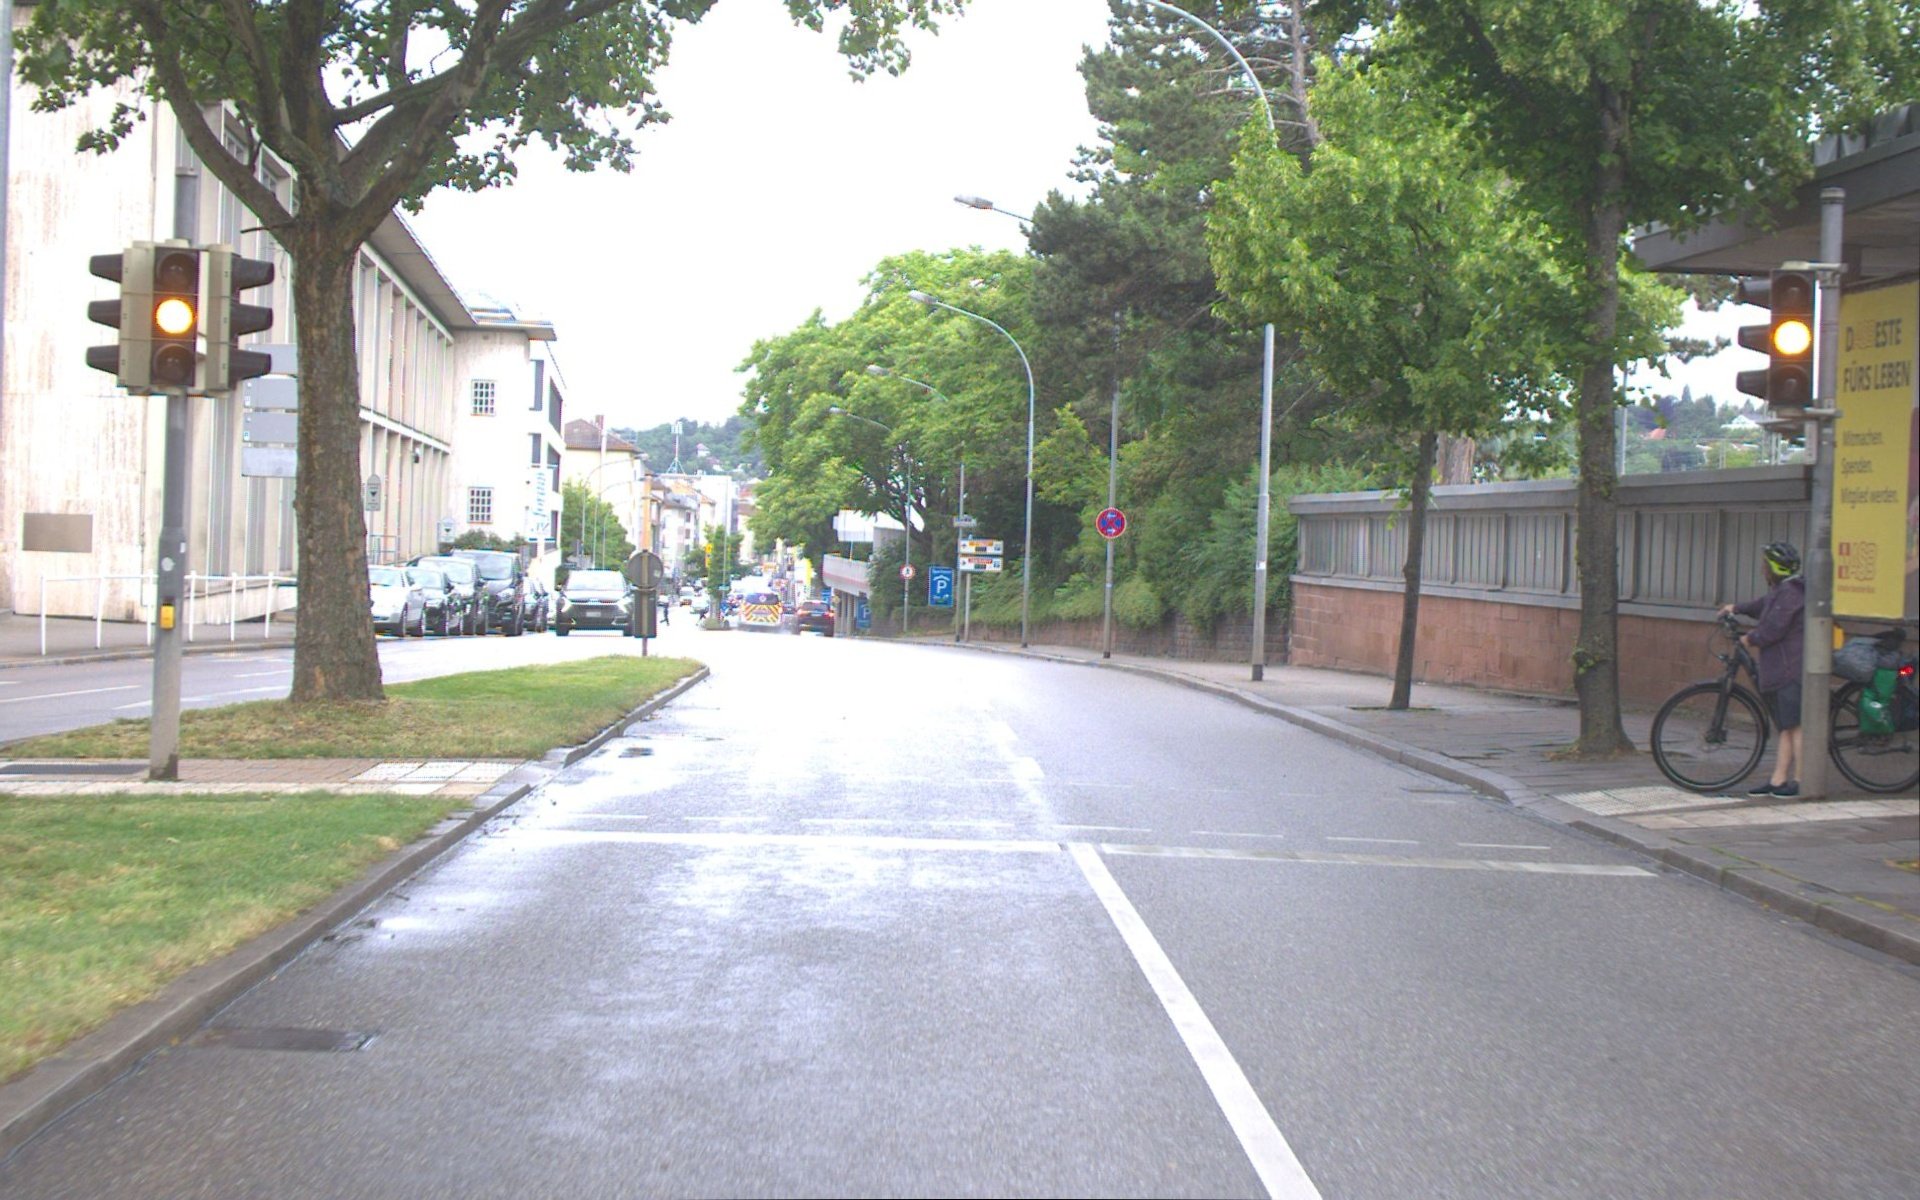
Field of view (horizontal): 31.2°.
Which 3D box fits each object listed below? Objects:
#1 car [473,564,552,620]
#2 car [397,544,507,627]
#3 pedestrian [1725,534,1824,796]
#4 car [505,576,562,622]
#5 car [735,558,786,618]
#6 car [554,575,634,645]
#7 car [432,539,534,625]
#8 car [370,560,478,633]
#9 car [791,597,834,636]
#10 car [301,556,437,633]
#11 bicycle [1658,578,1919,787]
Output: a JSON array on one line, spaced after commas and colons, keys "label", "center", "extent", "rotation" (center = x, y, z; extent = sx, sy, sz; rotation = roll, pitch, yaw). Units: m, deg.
[{"label": "car", "center": [-12.772, -0.238, 98.338], "extent": [1.815, 1.479, 4.910], "rotation": [2, 0, -3]}, {"label": "car", "center": [-10.977, -0.310, 74.504], "extent": [1.797, 1.670, 4.604], "rotation": [2, 0, -2]}, {"label": "pedestrian", "center": [4.953, 0.385, 20.906], "extent": [0.457, 1.563, 0.392], "rotation": [2, 1, 30]}, {"label": "car", "center": [-14.716, -0.027, 118.808], "extent": [1.747, 1.430, 4.487], "rotation": [4, -1, -6]}, {"label": "car", "center": [-9.030, -0.572, 155.639], "extent": [2.264, 2.647, 4.001], "rotation": [0, 1, -3]}, {"label": "car", "center": [-9.031, 0.230, 85.066], "extent": [1.821, 1.655, 4.338], "rotation": [1, 0, -4]}, {"label": "car", "center": [-11.440, -0.437, 82.715], "extent": [1.948, 1.937, 4.996], "rotation": [2, 0, -3]}, {"label": "car", "center": [-10.734, -0.076, 69.049], "extent": [1.542, 1.349, 4.110], "rotation": [2, 0, -1]}, {"label": "car", "center": [-7.576, 0.827, 175.779], "extent": [2.091, 1.904, 4.100], "rotation": [0, 1, -4]}, {"label": "car", "center": [-10.806, -0.105, 63.062], "extent": [1.691, 1.293, 4.093], "rotation": [2, 0, 1]}, {"label": "bicycle", "center": [5.211, 0.493, 21.137], "extent": [1.723, 1.244, 0.485], "rotation": [0, 1, 30]}]
